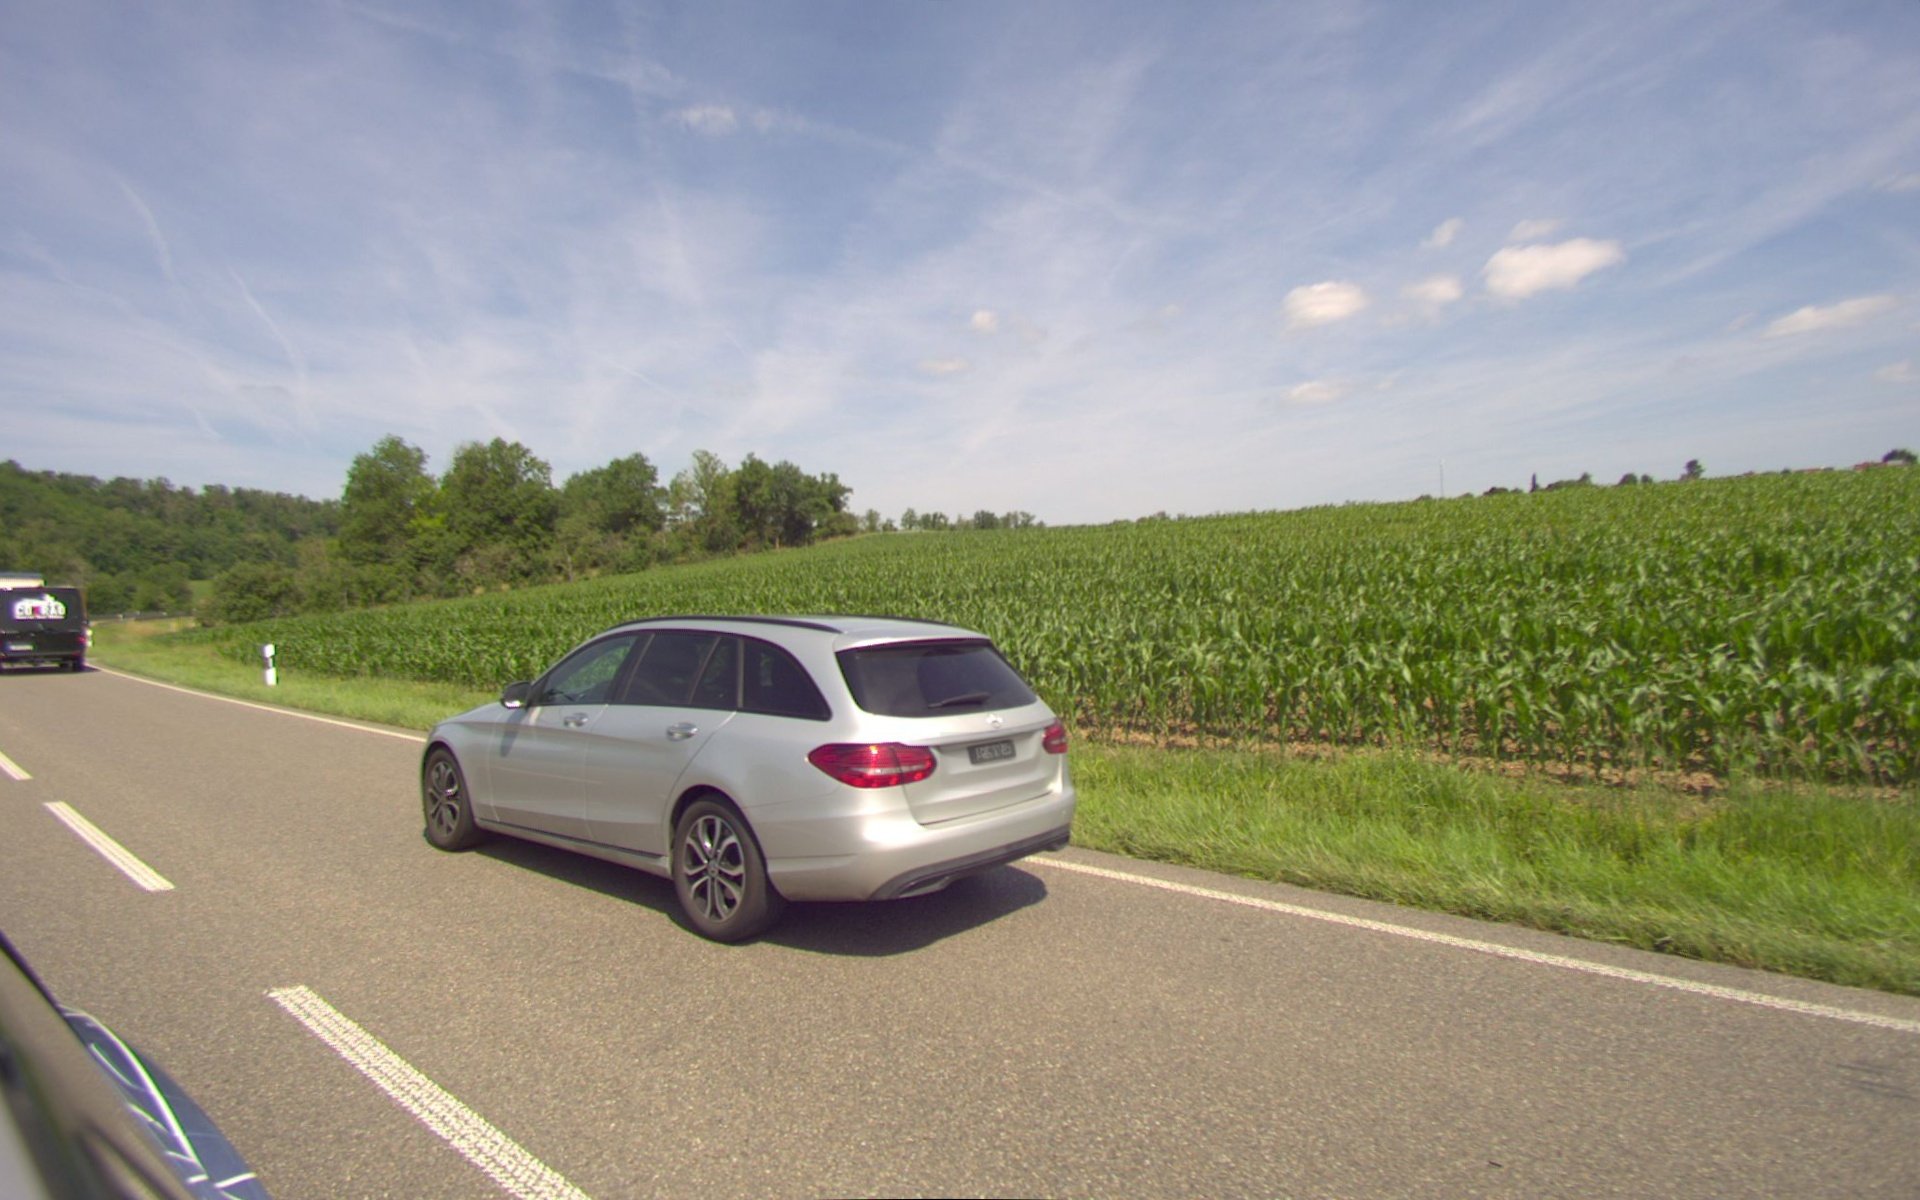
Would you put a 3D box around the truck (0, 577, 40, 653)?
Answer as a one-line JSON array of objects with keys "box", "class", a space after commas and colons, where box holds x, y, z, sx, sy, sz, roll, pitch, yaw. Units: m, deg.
[{"box": [-49.157, 0.794, 51.573, 9.728, 3.606, 2.711, -1, -1, 44], "class": "truck"}]

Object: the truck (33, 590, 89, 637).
[{"box": [-84.032, 1.248, 94.842, 2.735, 4.029, 17.062, -1, -1, -38], "class": "truck"}]

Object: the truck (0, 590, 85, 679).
[{"box": [-26.526, 0.934, 28.818, 5.193, 2.337, 1.987, -1, -1, 44], "class": "truck"}]

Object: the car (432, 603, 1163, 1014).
[{"box": [-1.157, 0.776, 5.605, 4.174, 1.451, 1.710, -1, -1, 41], "class": "car"}]
